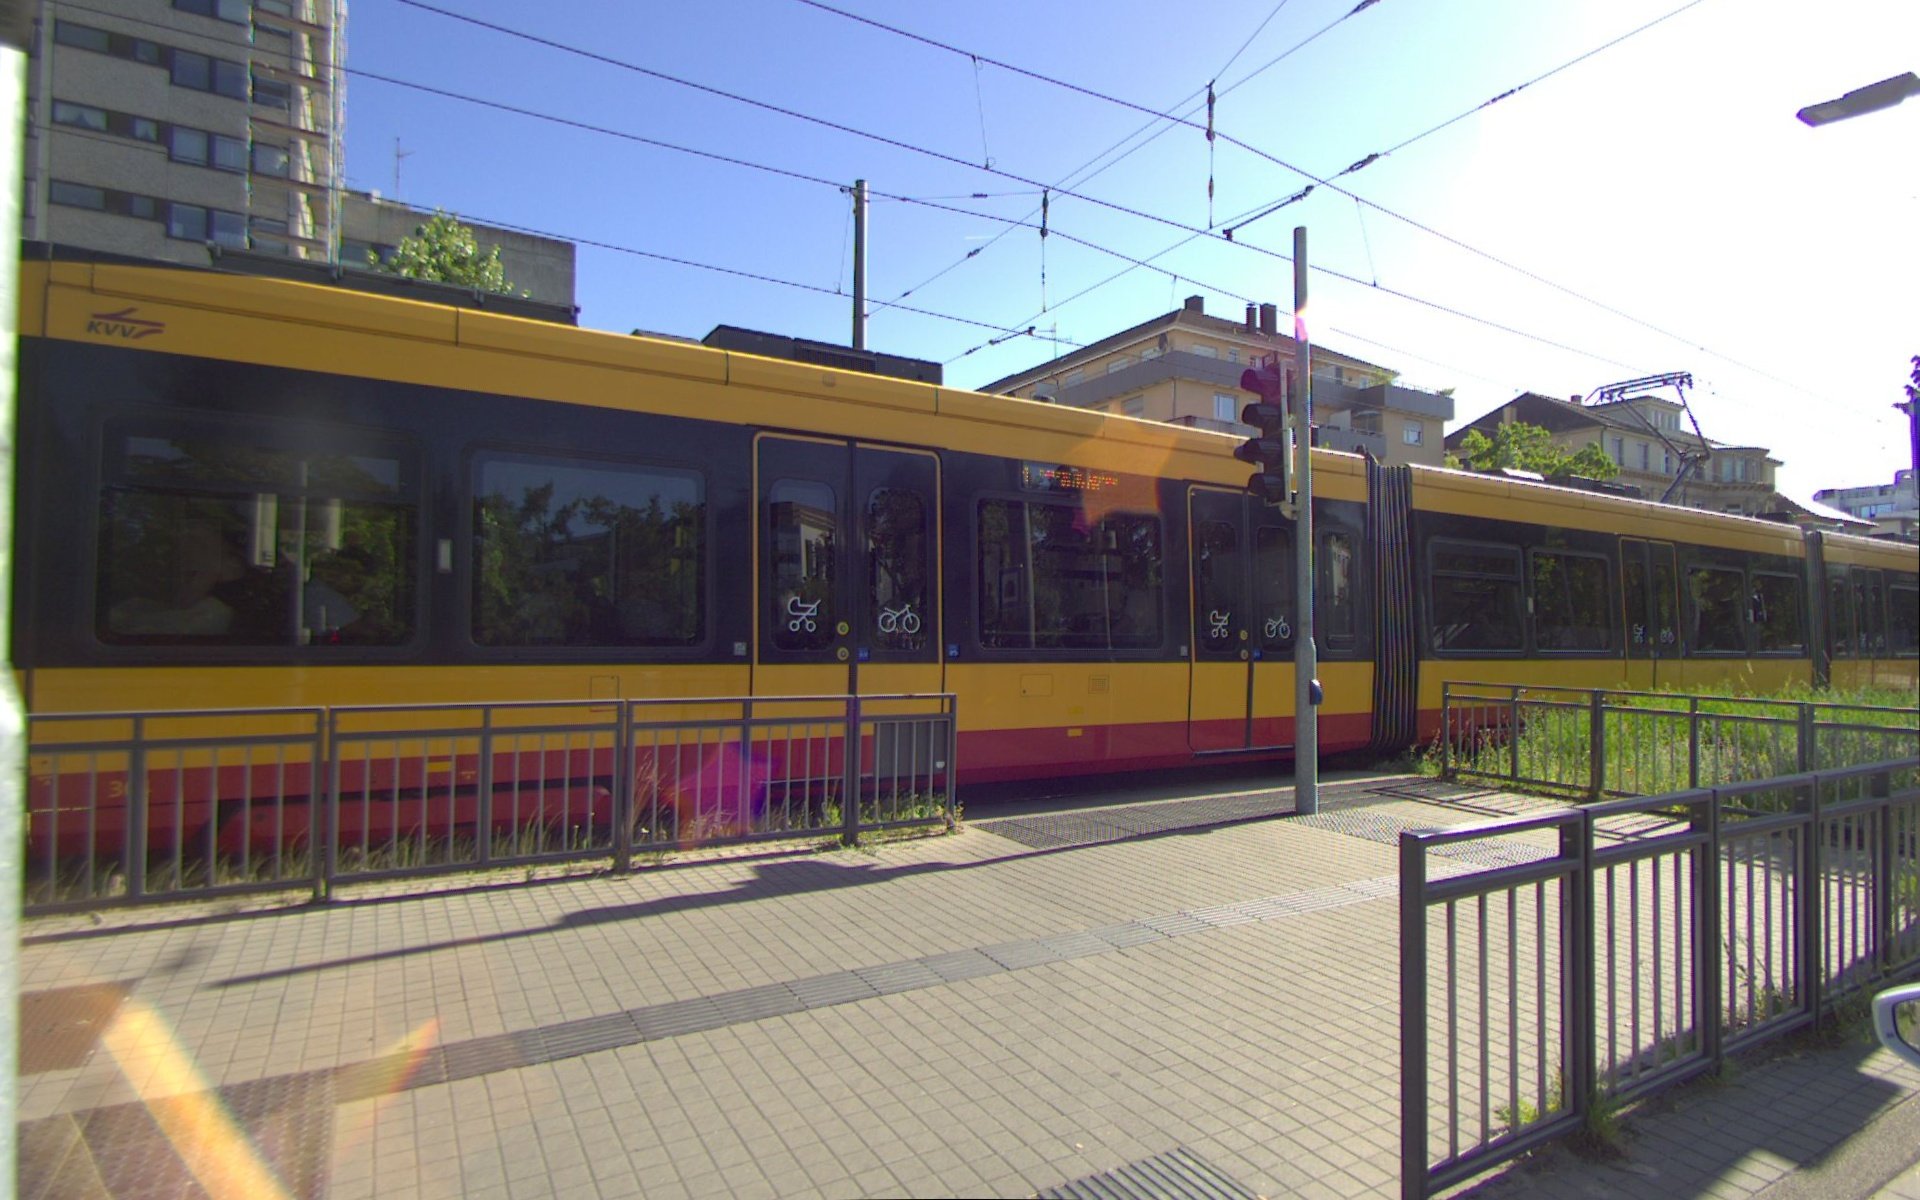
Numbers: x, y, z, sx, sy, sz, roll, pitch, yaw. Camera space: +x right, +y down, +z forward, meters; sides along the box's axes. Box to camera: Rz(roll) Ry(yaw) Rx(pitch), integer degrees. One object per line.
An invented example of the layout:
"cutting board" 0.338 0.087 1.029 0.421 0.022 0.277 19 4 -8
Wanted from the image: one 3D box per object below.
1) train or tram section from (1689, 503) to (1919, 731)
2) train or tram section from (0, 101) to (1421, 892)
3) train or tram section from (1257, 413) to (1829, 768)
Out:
"train or tram section" 18.580 0.468 20.207 11.549 3.717 1.984 2 -1 -31
"train or tram section" -1.598 -0.353 7.722 13.995 3.717 1.983 2 -1 -32
"train or tram section" 8.904 0.080 14.303 11.189 3.717 1.983 2 -1 -32
